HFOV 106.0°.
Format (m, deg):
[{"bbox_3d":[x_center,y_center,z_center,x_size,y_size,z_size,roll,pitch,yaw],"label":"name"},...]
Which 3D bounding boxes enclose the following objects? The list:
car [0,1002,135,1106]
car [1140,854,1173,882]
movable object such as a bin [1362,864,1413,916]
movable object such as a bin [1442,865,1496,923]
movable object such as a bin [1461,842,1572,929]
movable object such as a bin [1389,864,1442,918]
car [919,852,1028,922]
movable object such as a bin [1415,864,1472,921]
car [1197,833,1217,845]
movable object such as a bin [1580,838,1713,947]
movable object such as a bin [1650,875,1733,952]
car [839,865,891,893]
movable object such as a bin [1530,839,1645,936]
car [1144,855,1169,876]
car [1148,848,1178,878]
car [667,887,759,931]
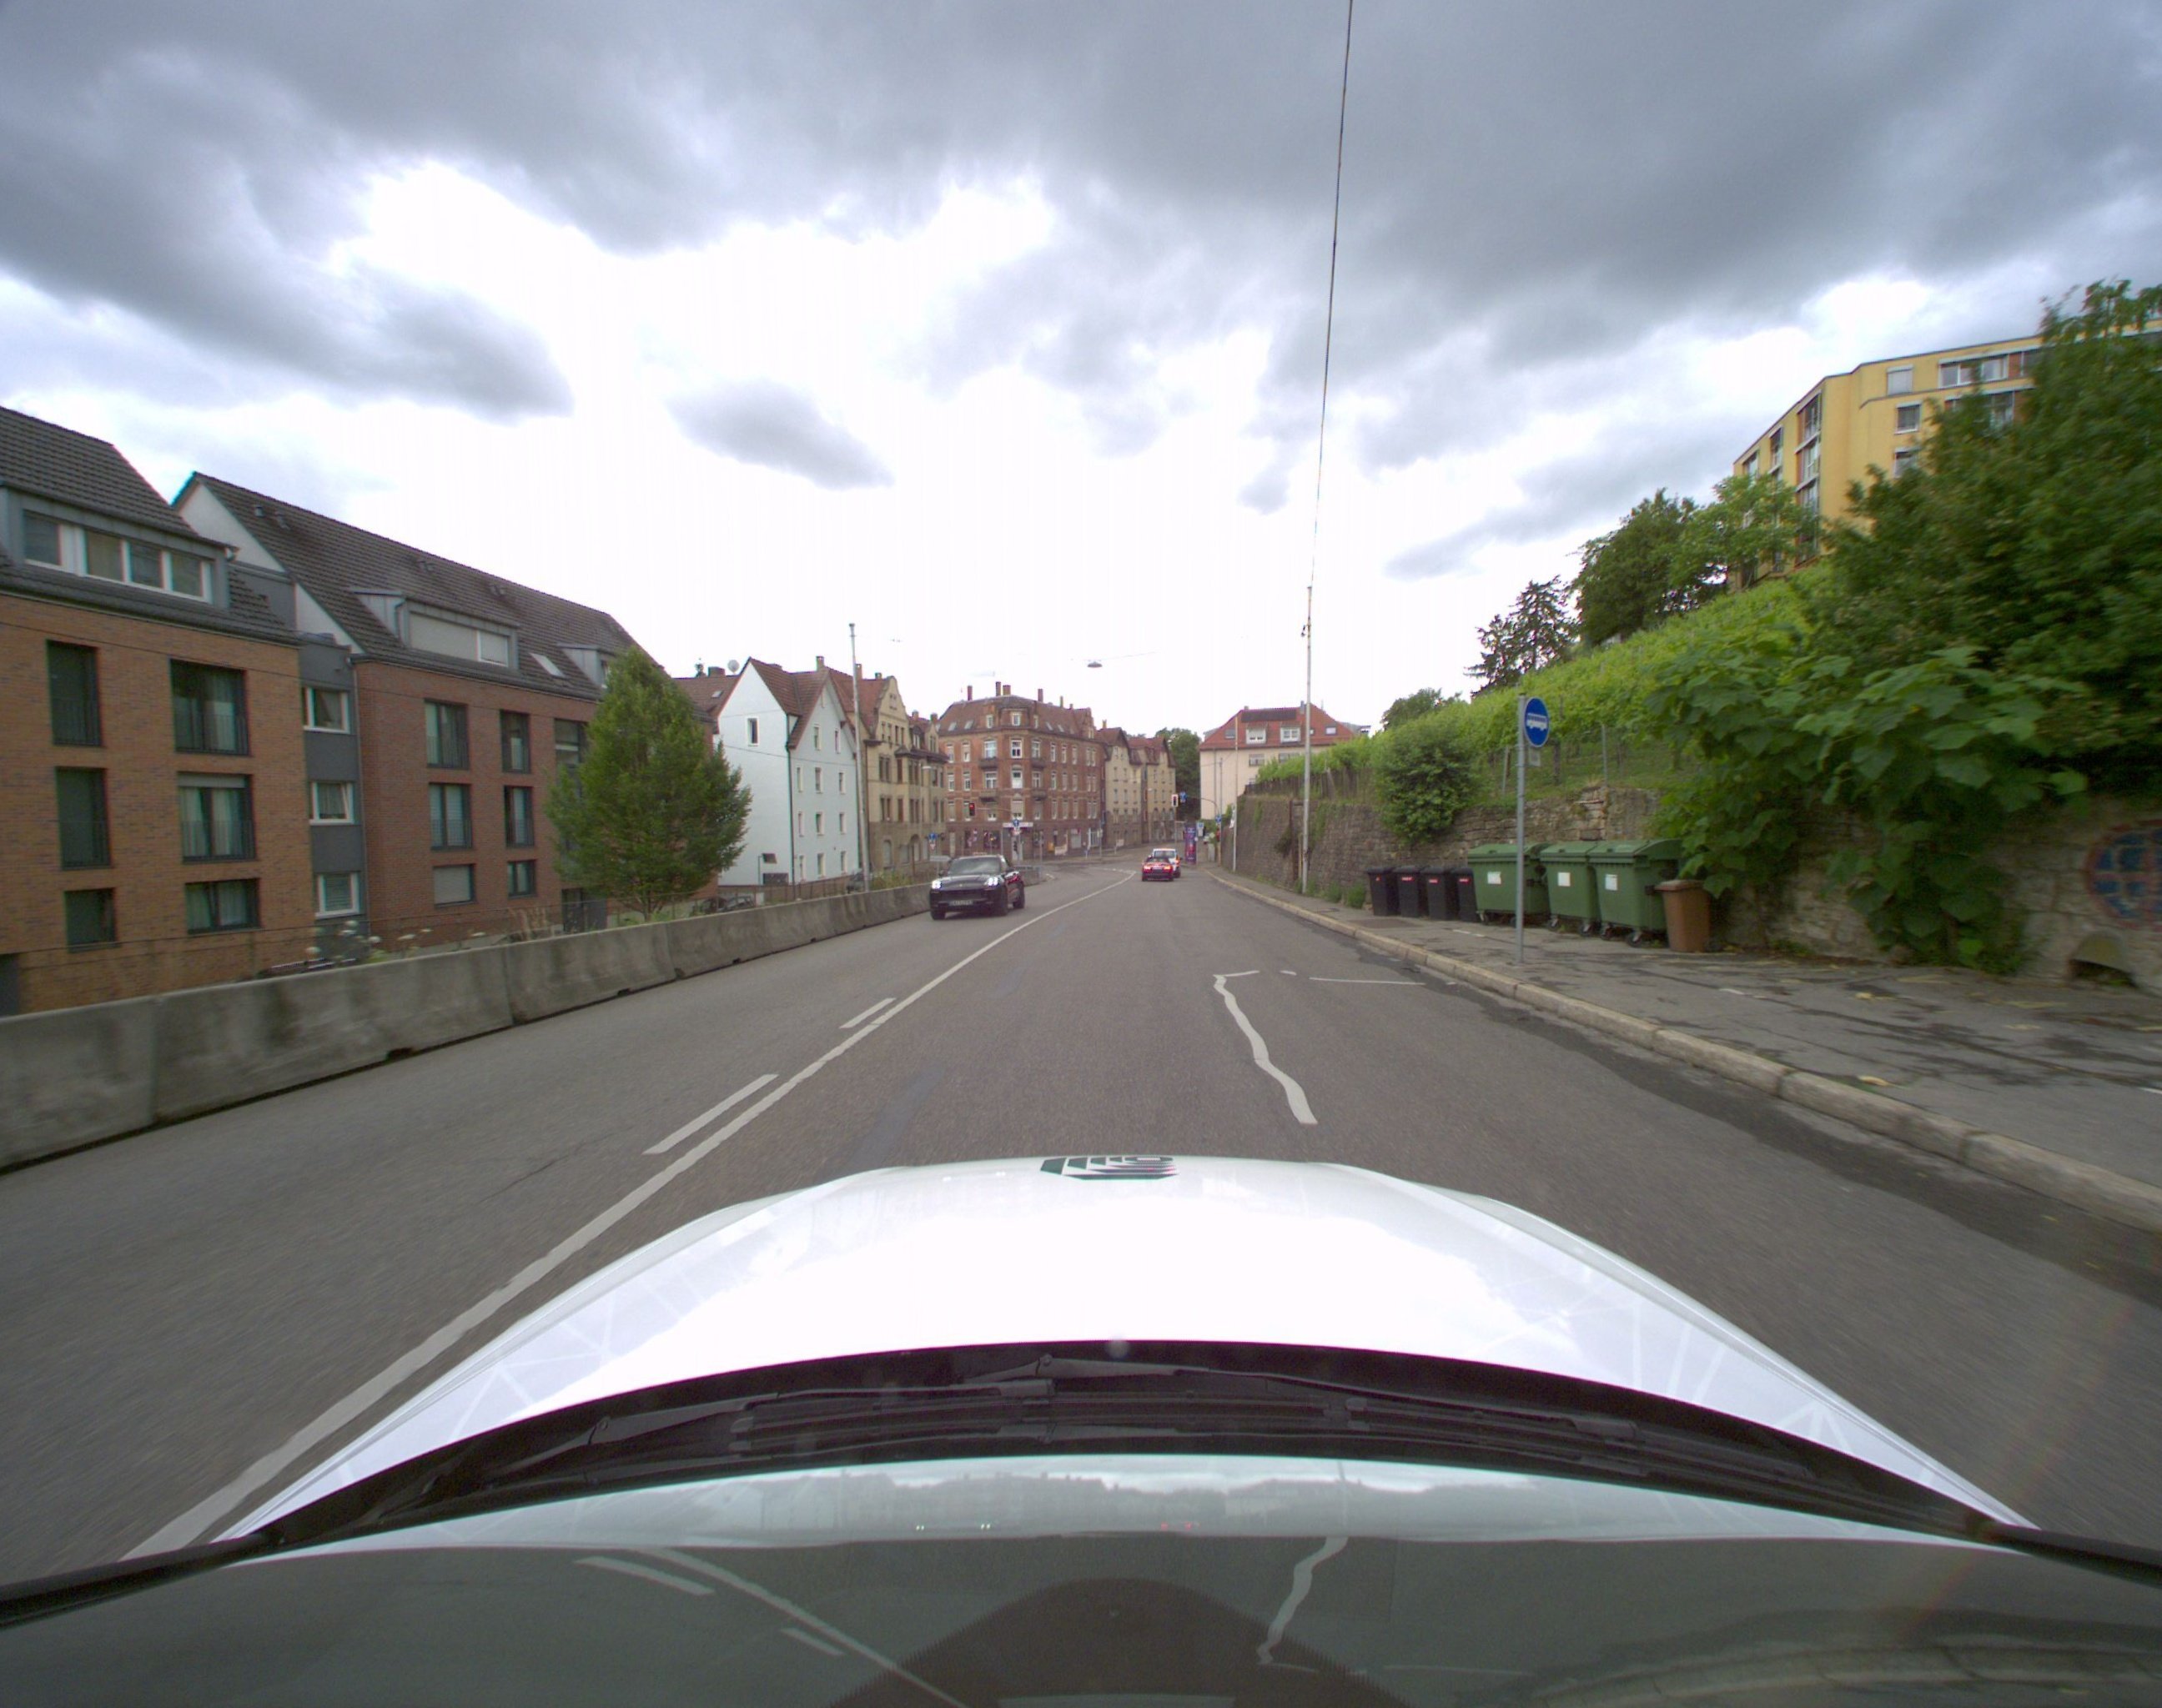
[{"bbox_3d":[-20.314,3.819,14.574,1.784,1.510,4.010,-3,1,9],"label":"car"},{"bbox_3d":[4.403,0.775,47.073,1.807,1.430,4.007,0,1,6],"label":"car"},{"bbox_3d":[6.557,0.751,17.447,0.743,1.058,0.676,-1,0,-14],"label":"movable object such as a bin"},{"bbox_3d":[7.344,0.750,15.427,0.710,1.058,0.544,-1,0,-14],"label":"movable object such as a bin"},{"bbox_3d":[7.700,0.529,14.465,1.049,1.444,1.412,-1,0,-14],"label":"movable object such as a bin"},{"bbox_3d":[6.887,0.755,16.805,0.743,1.058,0.676,-1,0,-14],"label":"movable object such as a bin"},{"bbox_3d":[-2.791,0.816,22.161,1.973,1.574,4.381,-3,1,5],"label":"car"},{"bbox_3d":[7.122,0.745,16.017,0.743,1.058,0.676,-1,0,-14],"label":"movable object such as a bin"},{"bbox_3d":[19.072,-2.342,123.151,1.824,1.702,4.025,0,2,28],"label":"car"},{"bbox_3d":[7.973,0.513,11.555,1.043,1.444,1.206,-1,0,2],"label":"movable object such as a bin"},{"bbox_3d":[7.906,0.762,10.575,0.592,0.942,0.640,-1,0,2],"label":"movable object such as a bin"},{"bbox_3d":[-14.219,1.591,53.861,1.784,1.510,4.011,-2,2,9],"label":"car"},{"bbox_3d":[7.975,0.507,12.885,1.044,1.444,1.204,-1,0,-1],"label":"movable object such as a bin"},{"bbox_3d":[5.668,0.817,60.892,1.832,1.441,4.007,0,1,6],"label":"car"},{"bbox_3d":[5.409,0.545,53.749,1.900,1.884,4.007,0,0,6],"label":"car"},{"bbox_3d":[-17.015,2.499,37.883,1.784,1.608,4.226,-3,1,9],"label":"car"}]
